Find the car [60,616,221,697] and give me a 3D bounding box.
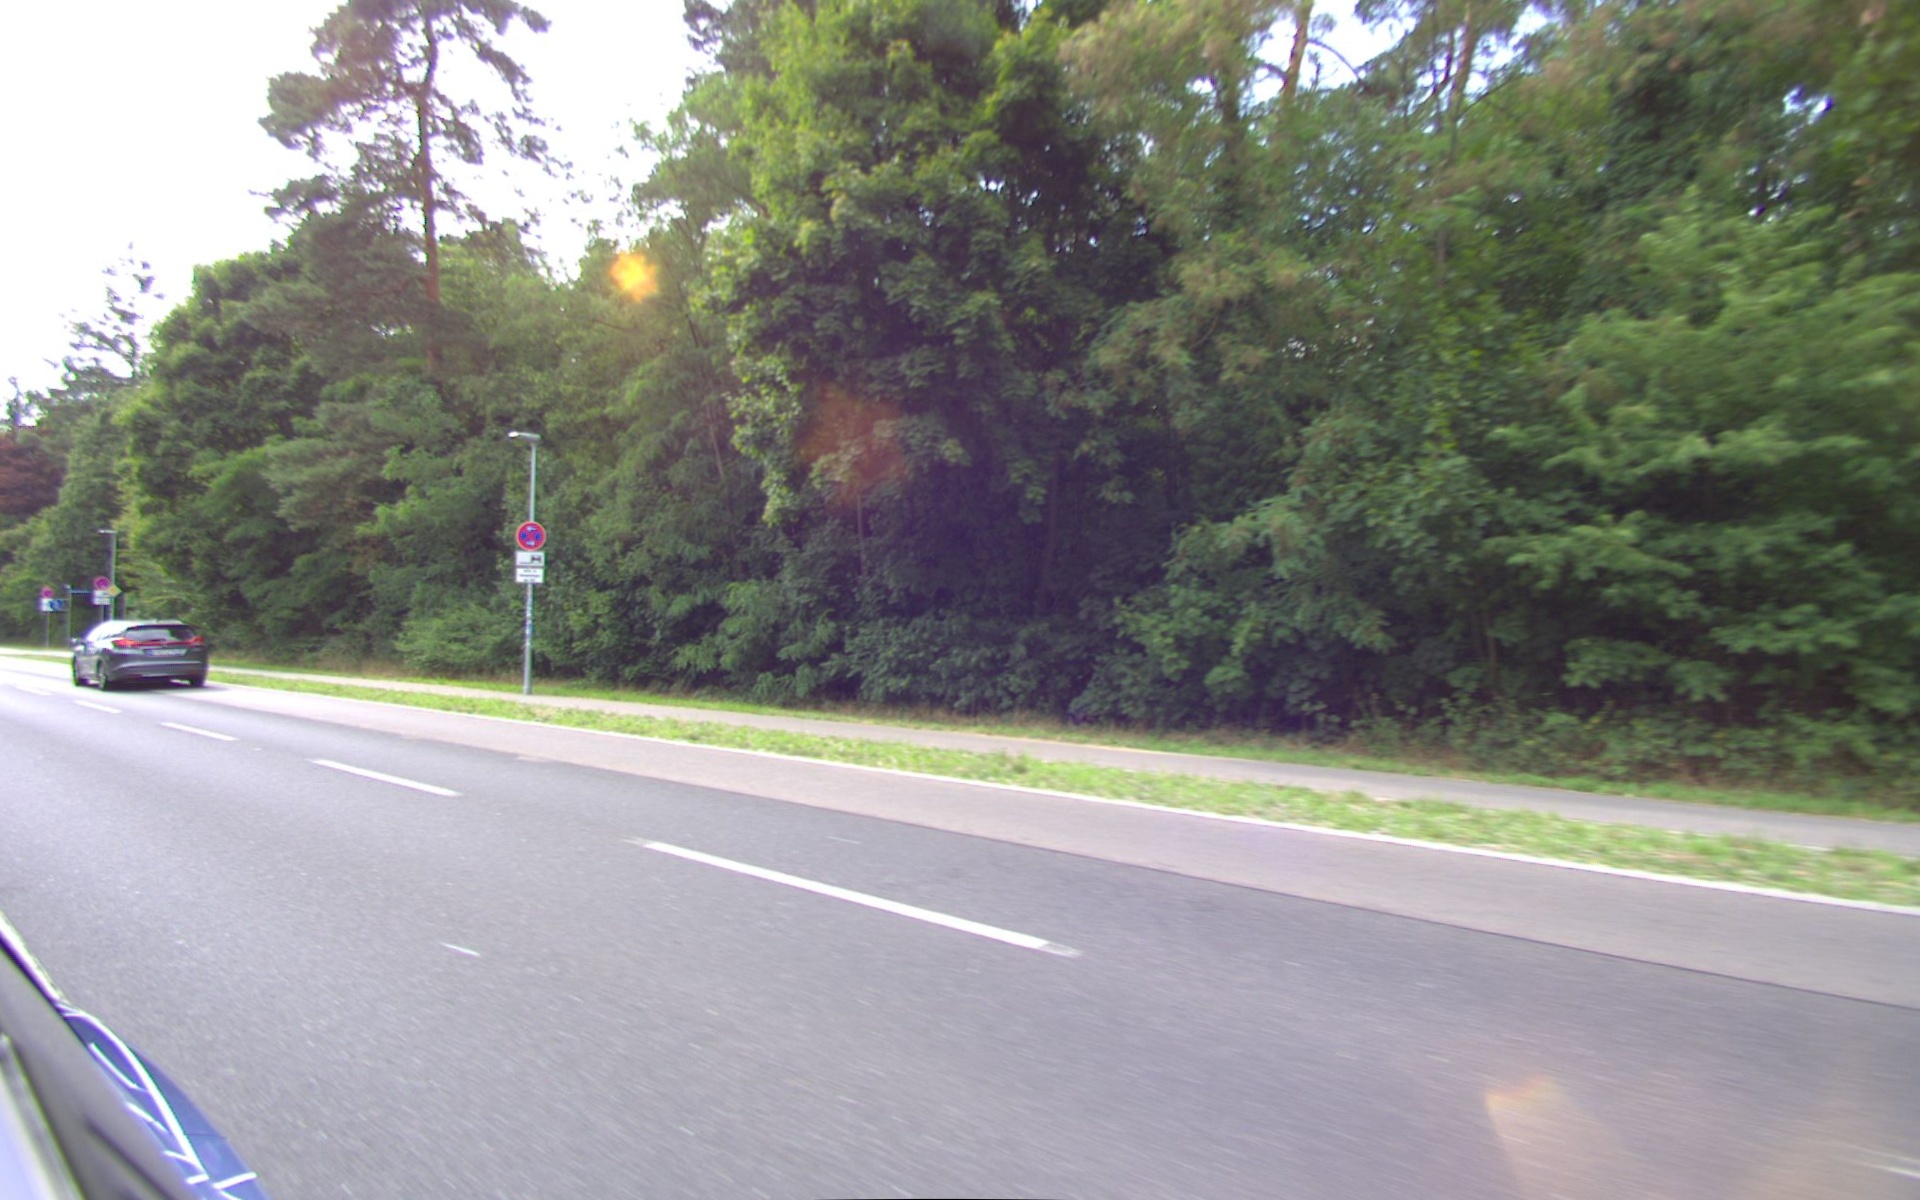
[{"bbox_3d":[-17.808,1.130,21.911,4.535,1.495,1.877,0,0,40],"label":"car"}]
